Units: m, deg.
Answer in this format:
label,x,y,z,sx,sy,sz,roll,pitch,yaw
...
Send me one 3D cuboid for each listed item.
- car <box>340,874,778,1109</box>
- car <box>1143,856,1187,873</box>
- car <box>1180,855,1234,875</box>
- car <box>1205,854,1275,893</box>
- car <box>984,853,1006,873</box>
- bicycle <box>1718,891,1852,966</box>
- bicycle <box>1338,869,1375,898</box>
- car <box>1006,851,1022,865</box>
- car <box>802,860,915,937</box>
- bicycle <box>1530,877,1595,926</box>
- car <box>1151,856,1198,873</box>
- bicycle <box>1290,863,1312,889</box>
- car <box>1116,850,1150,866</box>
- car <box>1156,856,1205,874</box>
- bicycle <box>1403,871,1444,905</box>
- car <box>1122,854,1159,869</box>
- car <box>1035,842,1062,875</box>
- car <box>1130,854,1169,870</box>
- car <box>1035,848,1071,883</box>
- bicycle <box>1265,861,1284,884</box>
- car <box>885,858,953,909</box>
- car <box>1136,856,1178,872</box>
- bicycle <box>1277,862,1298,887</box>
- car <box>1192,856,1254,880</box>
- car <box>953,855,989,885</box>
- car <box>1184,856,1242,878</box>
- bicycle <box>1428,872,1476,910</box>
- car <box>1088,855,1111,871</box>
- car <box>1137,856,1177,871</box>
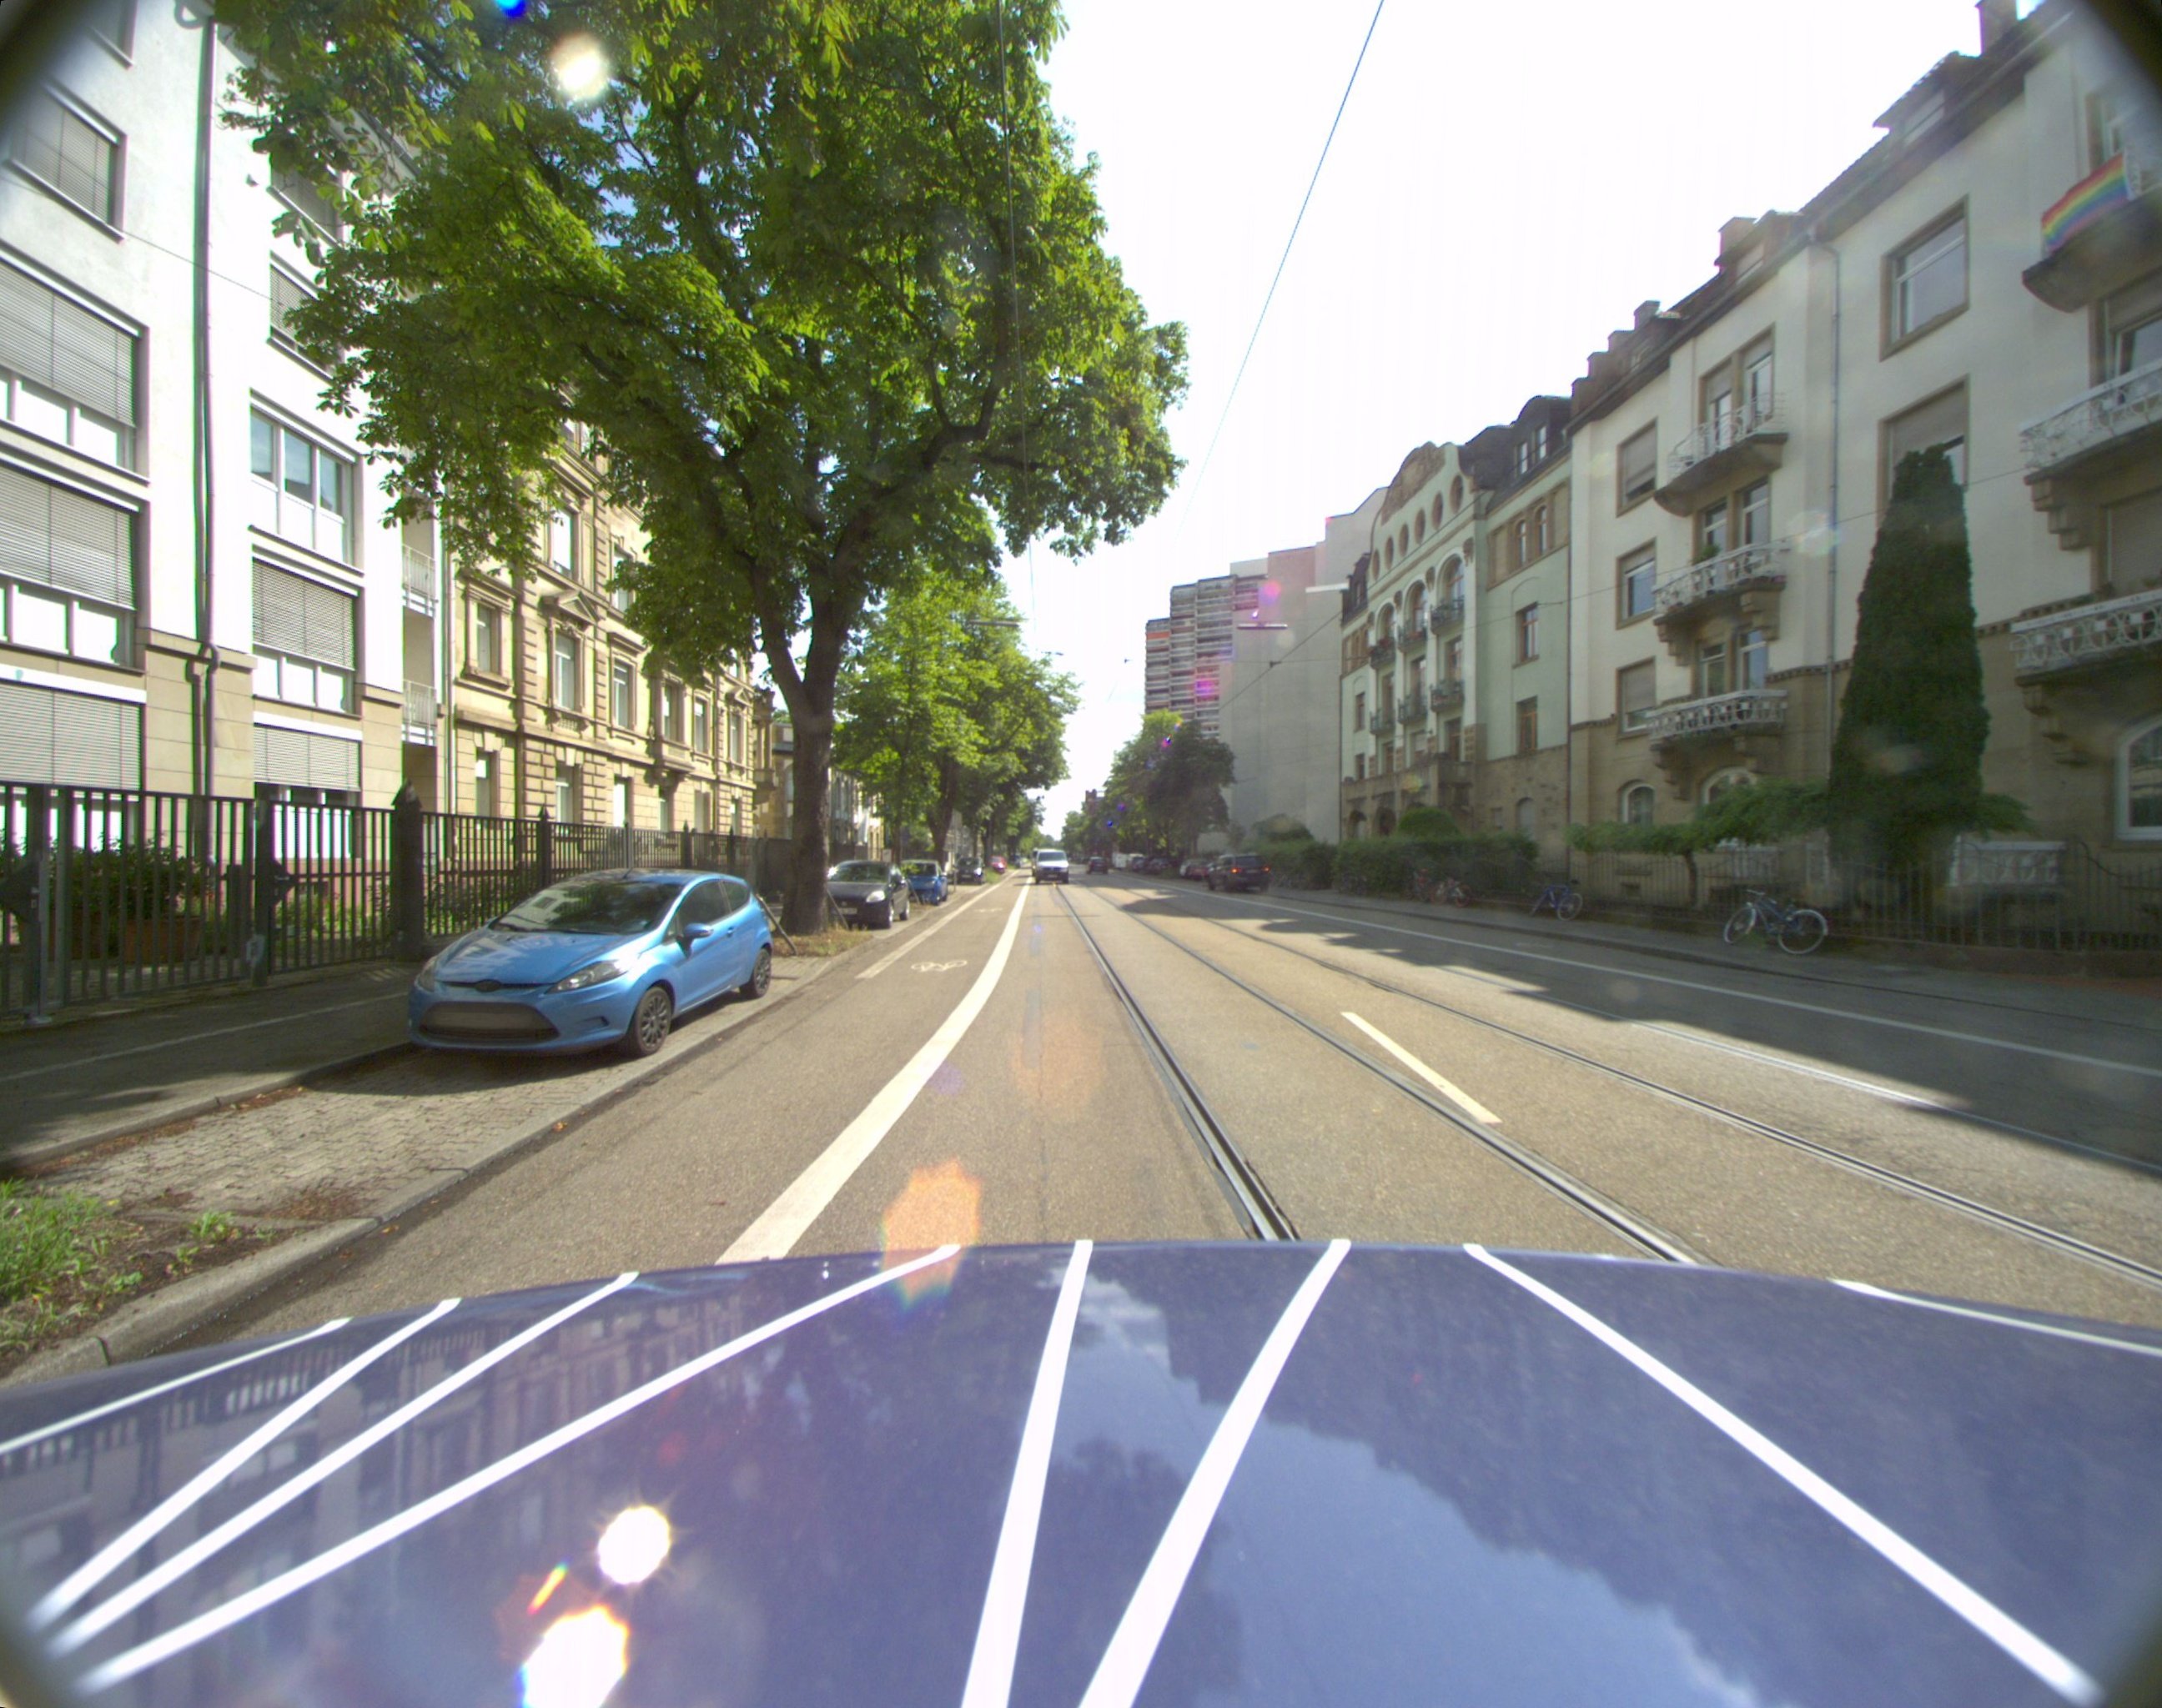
label,x,y,z,sx,sy,sz,roll,pitch,yaw
car,-4.331,1.007,7.087,1.647,1.467,3.660,3,0,-3
car,7.740,0.964,70.064,3.994,1.499,2.001,0,0,7
car,9.509,0.829,57.746,3.994,1.499,2.001,0,0,7
car,7.176,0.829,34.720,1.922,1.685,4.400,0,0,-5
car,-7.607,0.781,67.388,1.744,1.564,3.928,3,0,-4
bicycle,11.075,1.133,12.045,0.467,0.990,1.979,0,0,7
bicycle,10.048,1.058,27.756,0.605,0.990,1.981,0,0,-1
car,-8.057,0.424,91.796,1.744,1.564,3.928,3,0,-4
car,-4.952,0.926,17.384,1.679,1.467,3.659,3,0,-4
bicycle,10.915,1.055,17.288,0.467,0.990,1.787,0,0,5
car,8.246,0.931,66.947,3.994,1.499,2.001,0,0,7
bicycle,10.078,1.005,34.866,0.468,1.128,1.786,0,0,-1
car,6.195,0.474,90.163,1.994,1.740,4.008,-1,1,41
car,8.351,0.921,63.791,3.994,1.499,2.001,0,0,7
bicycle,10.646,1.030,23.670,0.468,0.990,1.786,0,0,-1
car,6.628,0.820,84.330,3.994,1.672,2.001,0,0,7
car,-2.669,0.362,62.649,2.147,2.568,4.816,0,0,-2
car,7.221,0.844,79.906,3.994,1.672,2.001,0,0,7
car,-1.638,0.626,44.199,1.974,1.901,4.816,0,0,-2
bicycle,9.886,0.935,38.905,0.468,1.128,1.786,0,0,-1
car,-5.382,0.936,25.597,1.679,1.467,3.659,3,0,-4
car,7.326,0.934,73.273,3.994,1.499,2.001,0,0,7
bicycle,9.991,0.982,36.808,0.468,1.128,1.786,0,0,-1
car,9.425,0.909,50.689,3.994,1.499,2.001,0,0,7
car,-6.331,0.888,44.171,1.744,1.564,3.659,3,0,-4
car,9.382,0.915,54.197,3.994,1.499,2.001,0,0,7
bicycle,10.613,1.038,21.772,0.468,0.990,1.786,0,0,-1
car,1.699,0.817,70.791,1.761,1.509,4.067,0,0,-4
car,7.647,0.930,76.434,3.994,1.499,2.001,0,0,7
